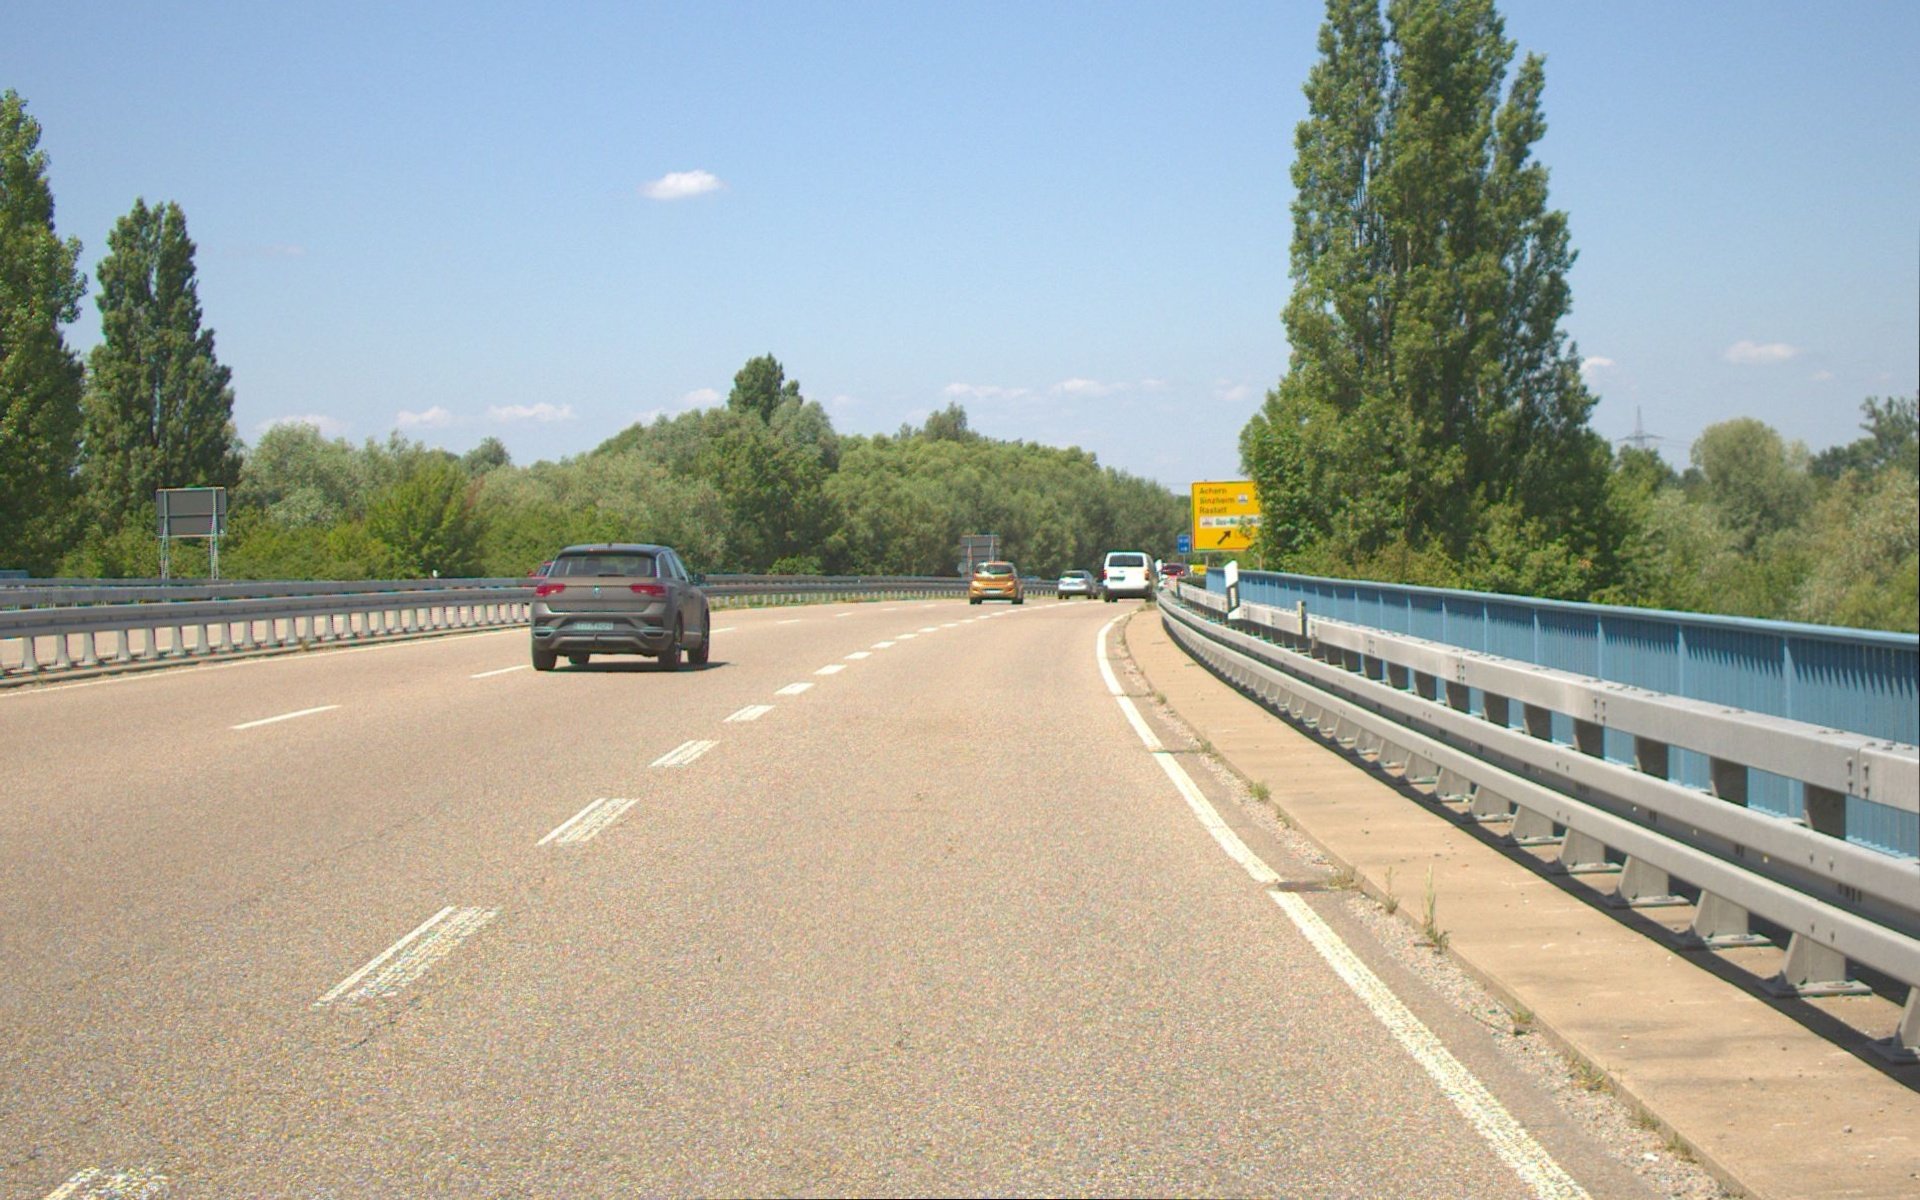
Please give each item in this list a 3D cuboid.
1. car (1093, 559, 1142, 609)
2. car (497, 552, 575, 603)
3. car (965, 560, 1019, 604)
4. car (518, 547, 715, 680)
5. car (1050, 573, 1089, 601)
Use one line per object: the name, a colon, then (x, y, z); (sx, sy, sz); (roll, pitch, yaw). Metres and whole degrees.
car: (6.233, -0.633, 135.814); (1.841, 1.889, 4.000); (1, 1, 3)
car: (-14.121, -0.736, 114.757); (1.843, 1.662, 5.050); (-1, 0, 2)
car: (1.151, -0.643, 120.366); (1.841, 1.459, 4.000); (1, 1, 1)
car: (-4.226, 0.126, 42.921); (1.841, 1.524, 4.470); (1, 1, 2)
car: (5.898, -0.694, 184.967); (1.841, 1.446, 3.999); (1, 1, 5)
